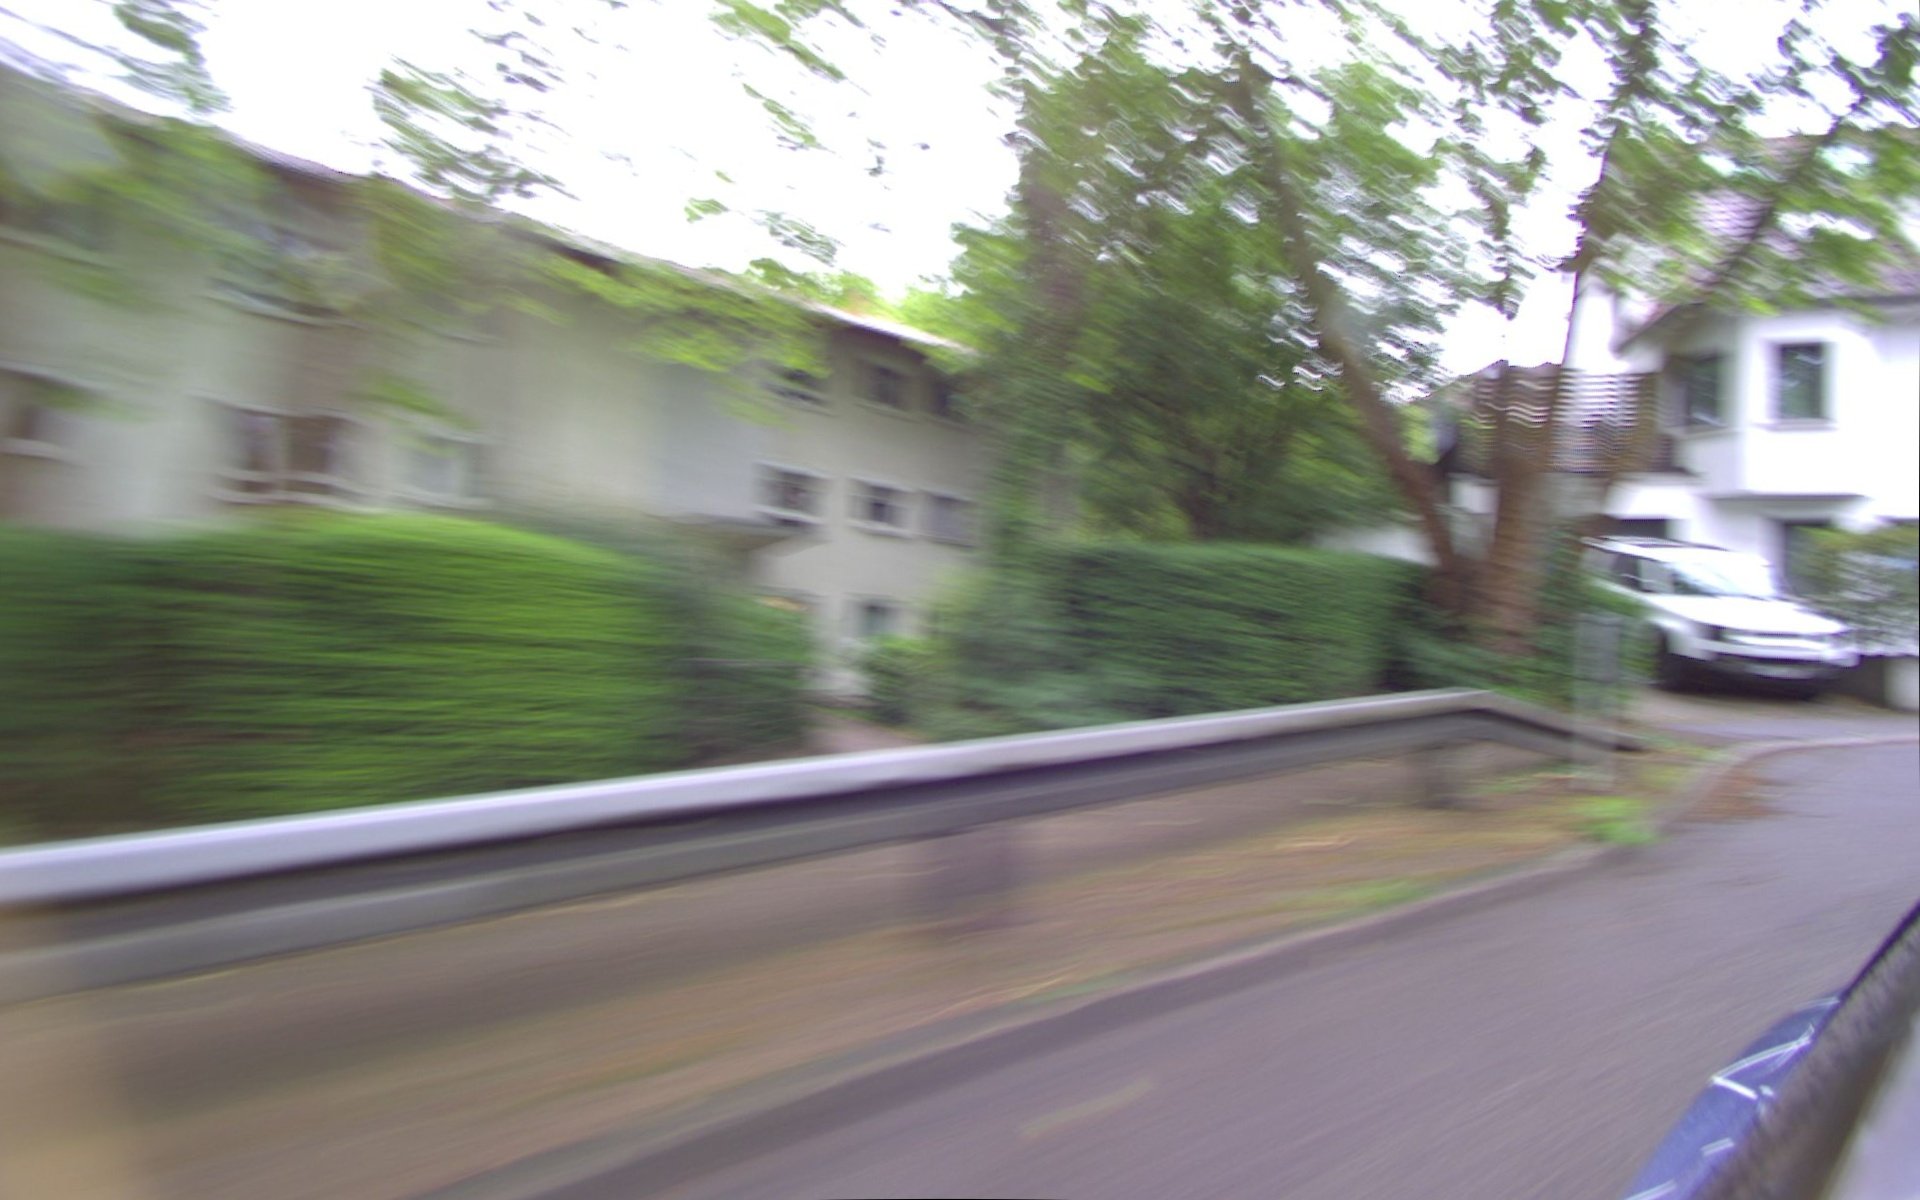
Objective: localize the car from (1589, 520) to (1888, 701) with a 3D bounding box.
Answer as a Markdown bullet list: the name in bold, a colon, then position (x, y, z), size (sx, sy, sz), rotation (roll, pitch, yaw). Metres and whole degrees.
- **car**: position (10.945, -0.031, 14.709), size (1.973, 1.862, 4.394), rotation (0, 9, 18)
